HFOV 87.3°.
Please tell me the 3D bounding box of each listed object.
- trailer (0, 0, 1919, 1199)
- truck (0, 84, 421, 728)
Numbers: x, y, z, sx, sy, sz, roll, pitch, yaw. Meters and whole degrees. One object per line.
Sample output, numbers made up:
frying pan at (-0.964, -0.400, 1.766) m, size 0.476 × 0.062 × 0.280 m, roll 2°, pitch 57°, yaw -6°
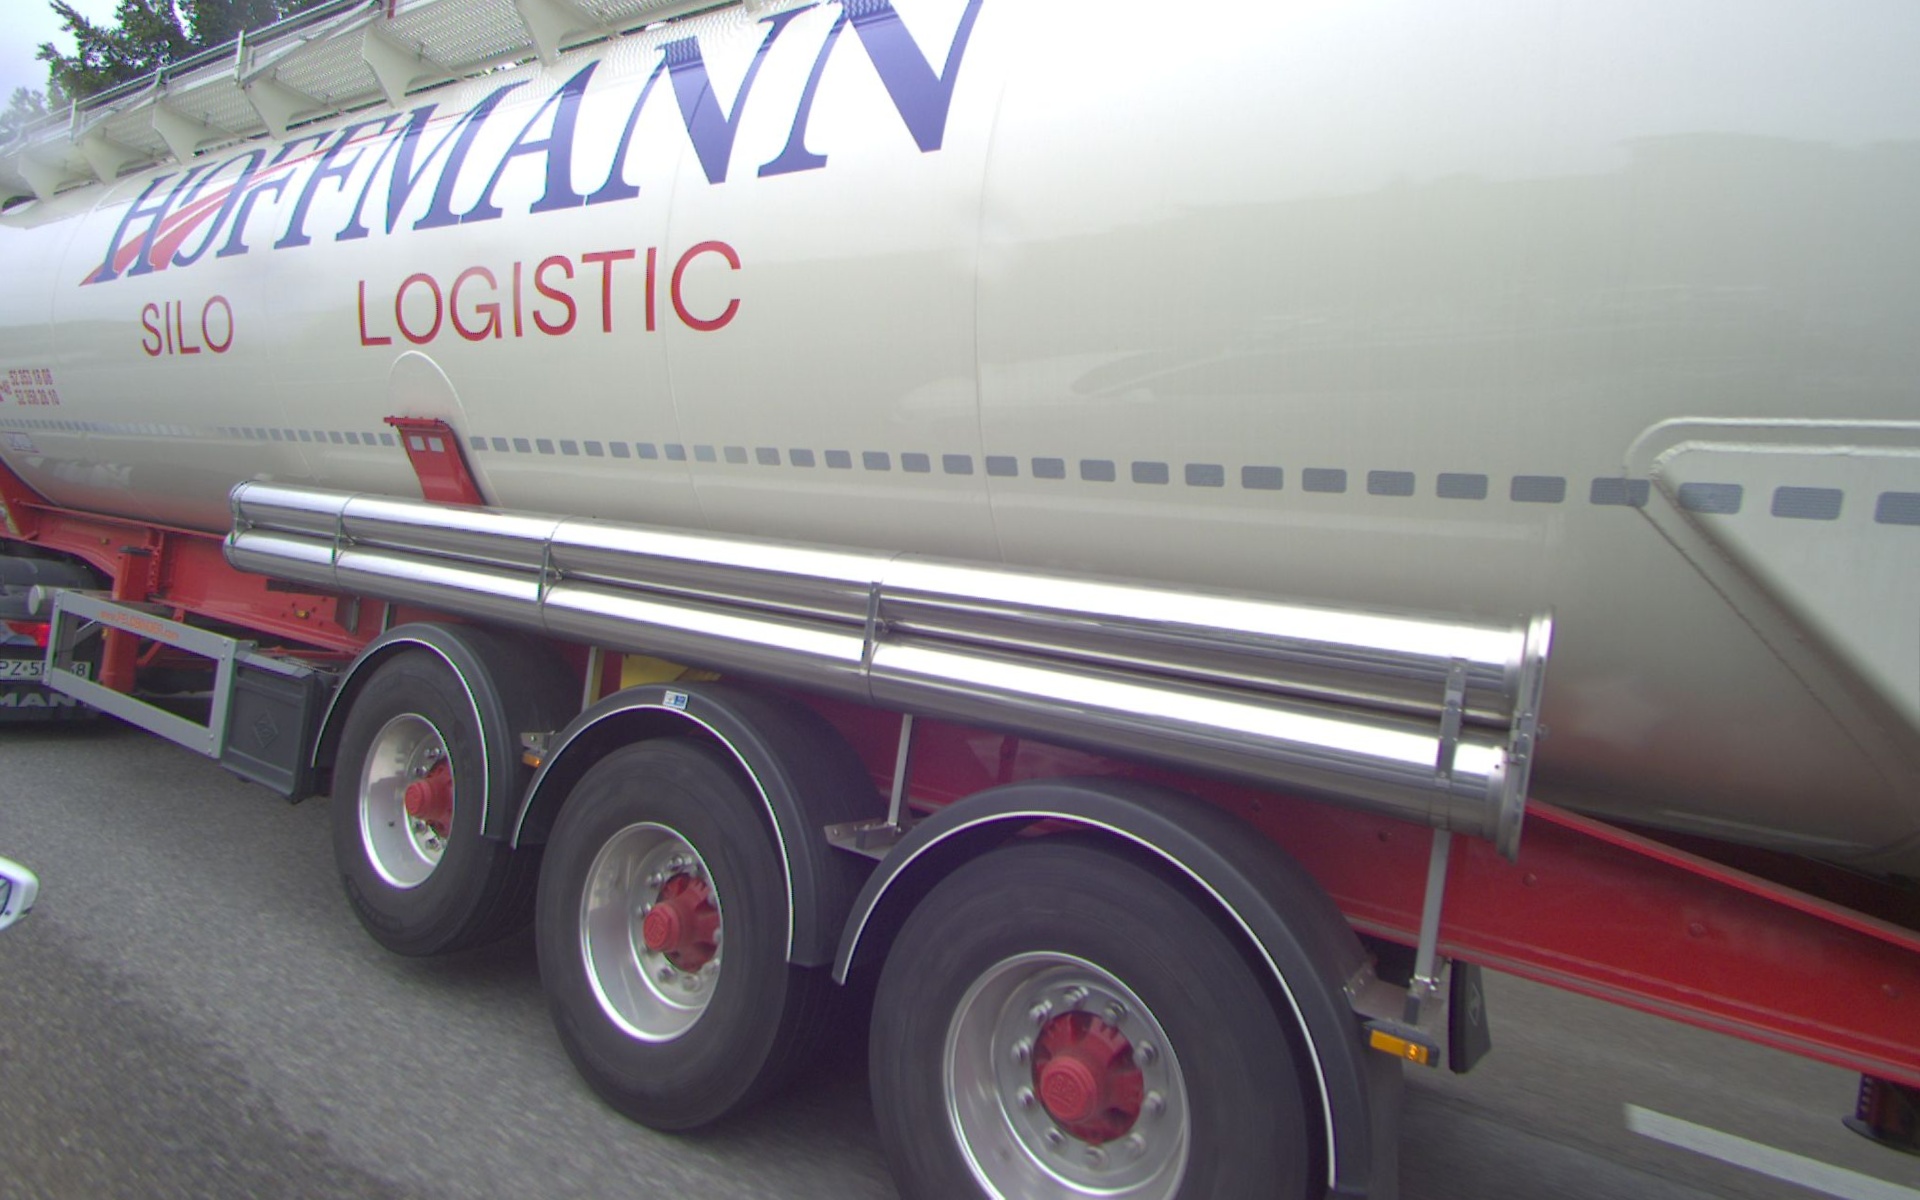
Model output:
trailer at (-2.102, -0.694, 5.165) m, size 12.911 × 3.987 × 2.672 m, roll 7°, pitch 0°, yaw 32°
truck at (-8.128, -1.365, 8.965) m, size 6.448 × 3.960 × 2.698 m, roll 6°, pitch 0°, yaw 32°
